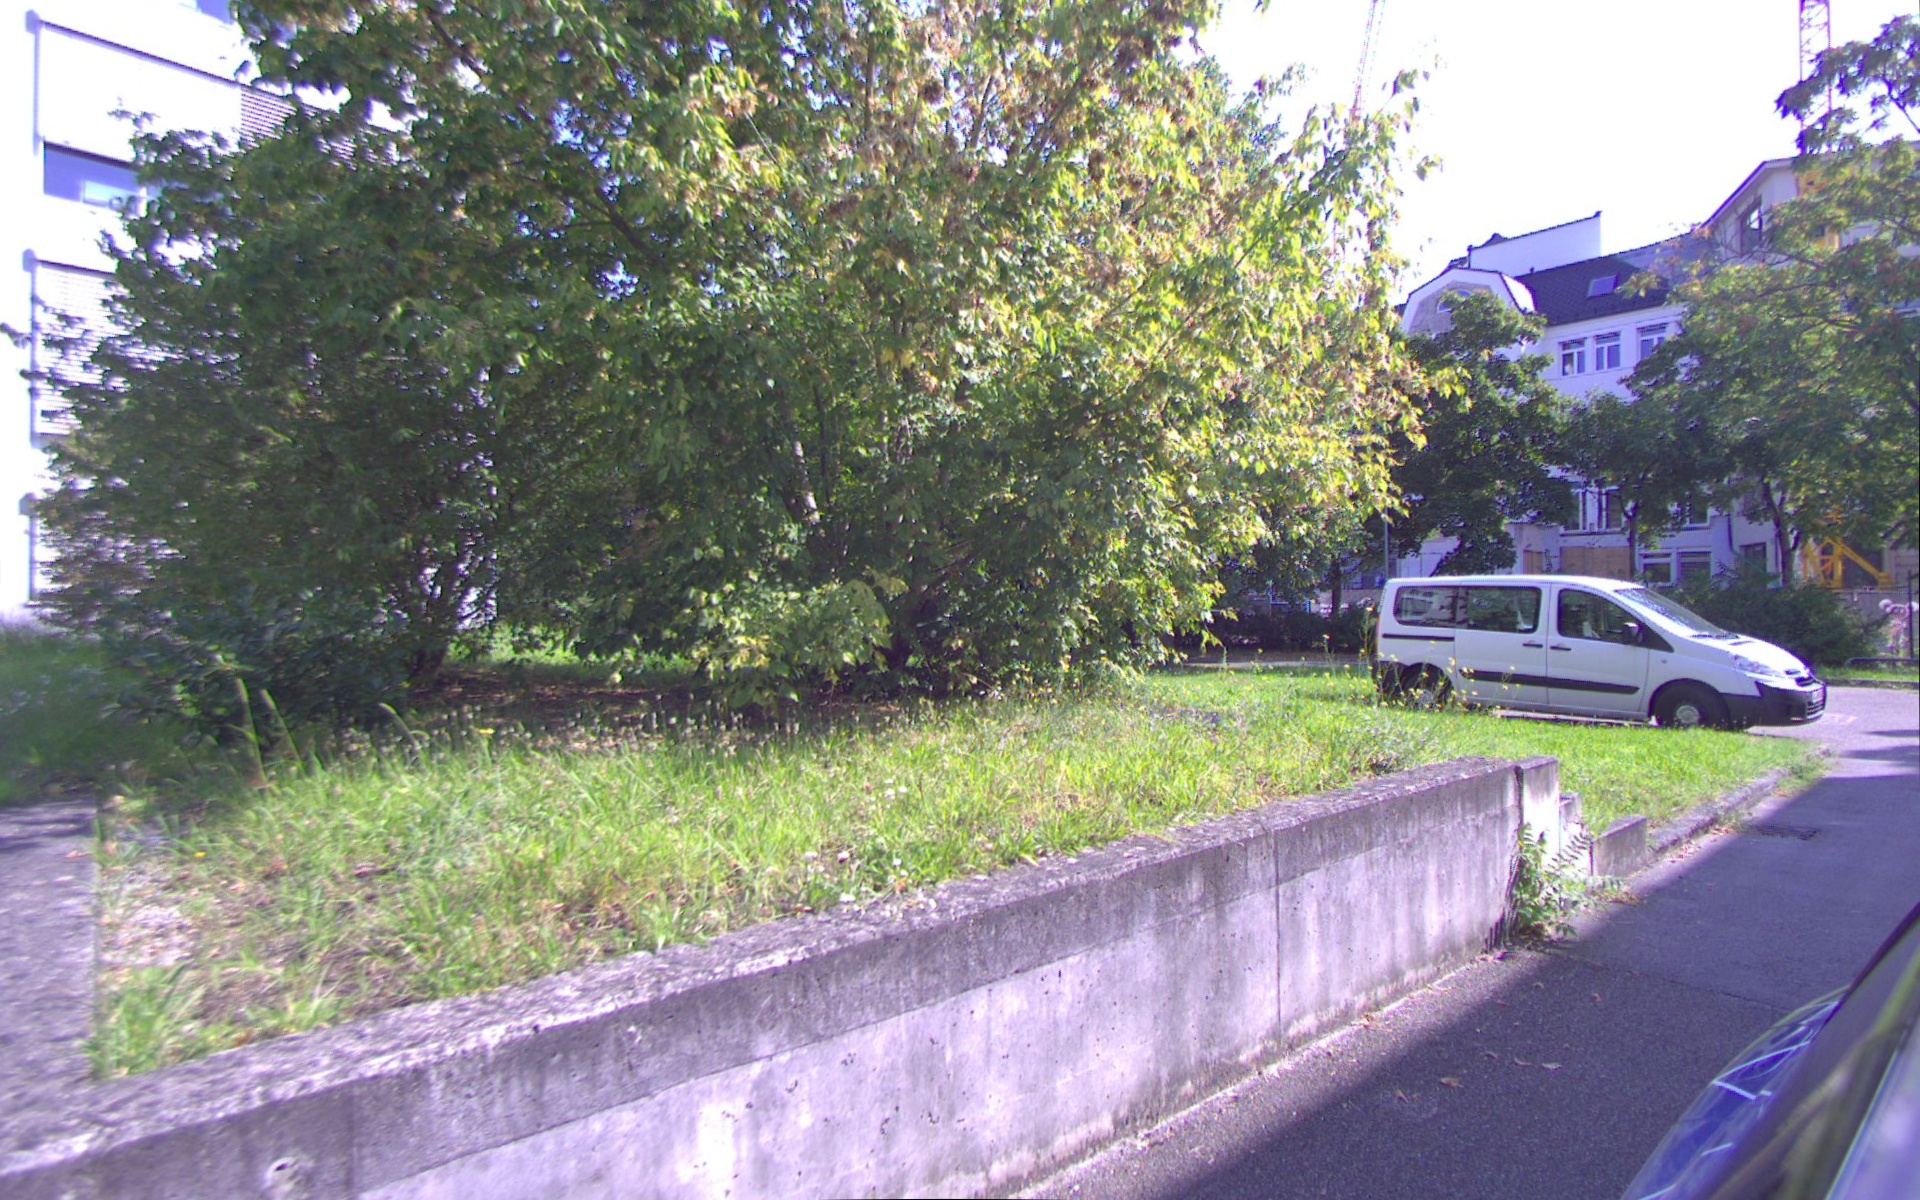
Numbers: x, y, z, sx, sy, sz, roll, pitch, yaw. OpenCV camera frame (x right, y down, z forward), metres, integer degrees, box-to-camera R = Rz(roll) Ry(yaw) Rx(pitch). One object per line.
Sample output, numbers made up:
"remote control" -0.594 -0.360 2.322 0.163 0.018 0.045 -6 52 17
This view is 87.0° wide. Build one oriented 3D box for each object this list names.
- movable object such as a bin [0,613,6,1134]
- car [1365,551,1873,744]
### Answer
"movable object such as a bin" -3.308 0.727 2.713 1.226 1.357 1.059 -1 -1 45
"car" 7.991 0.509 12.779 2.007 1.945 4.968 -1 -1 -38
